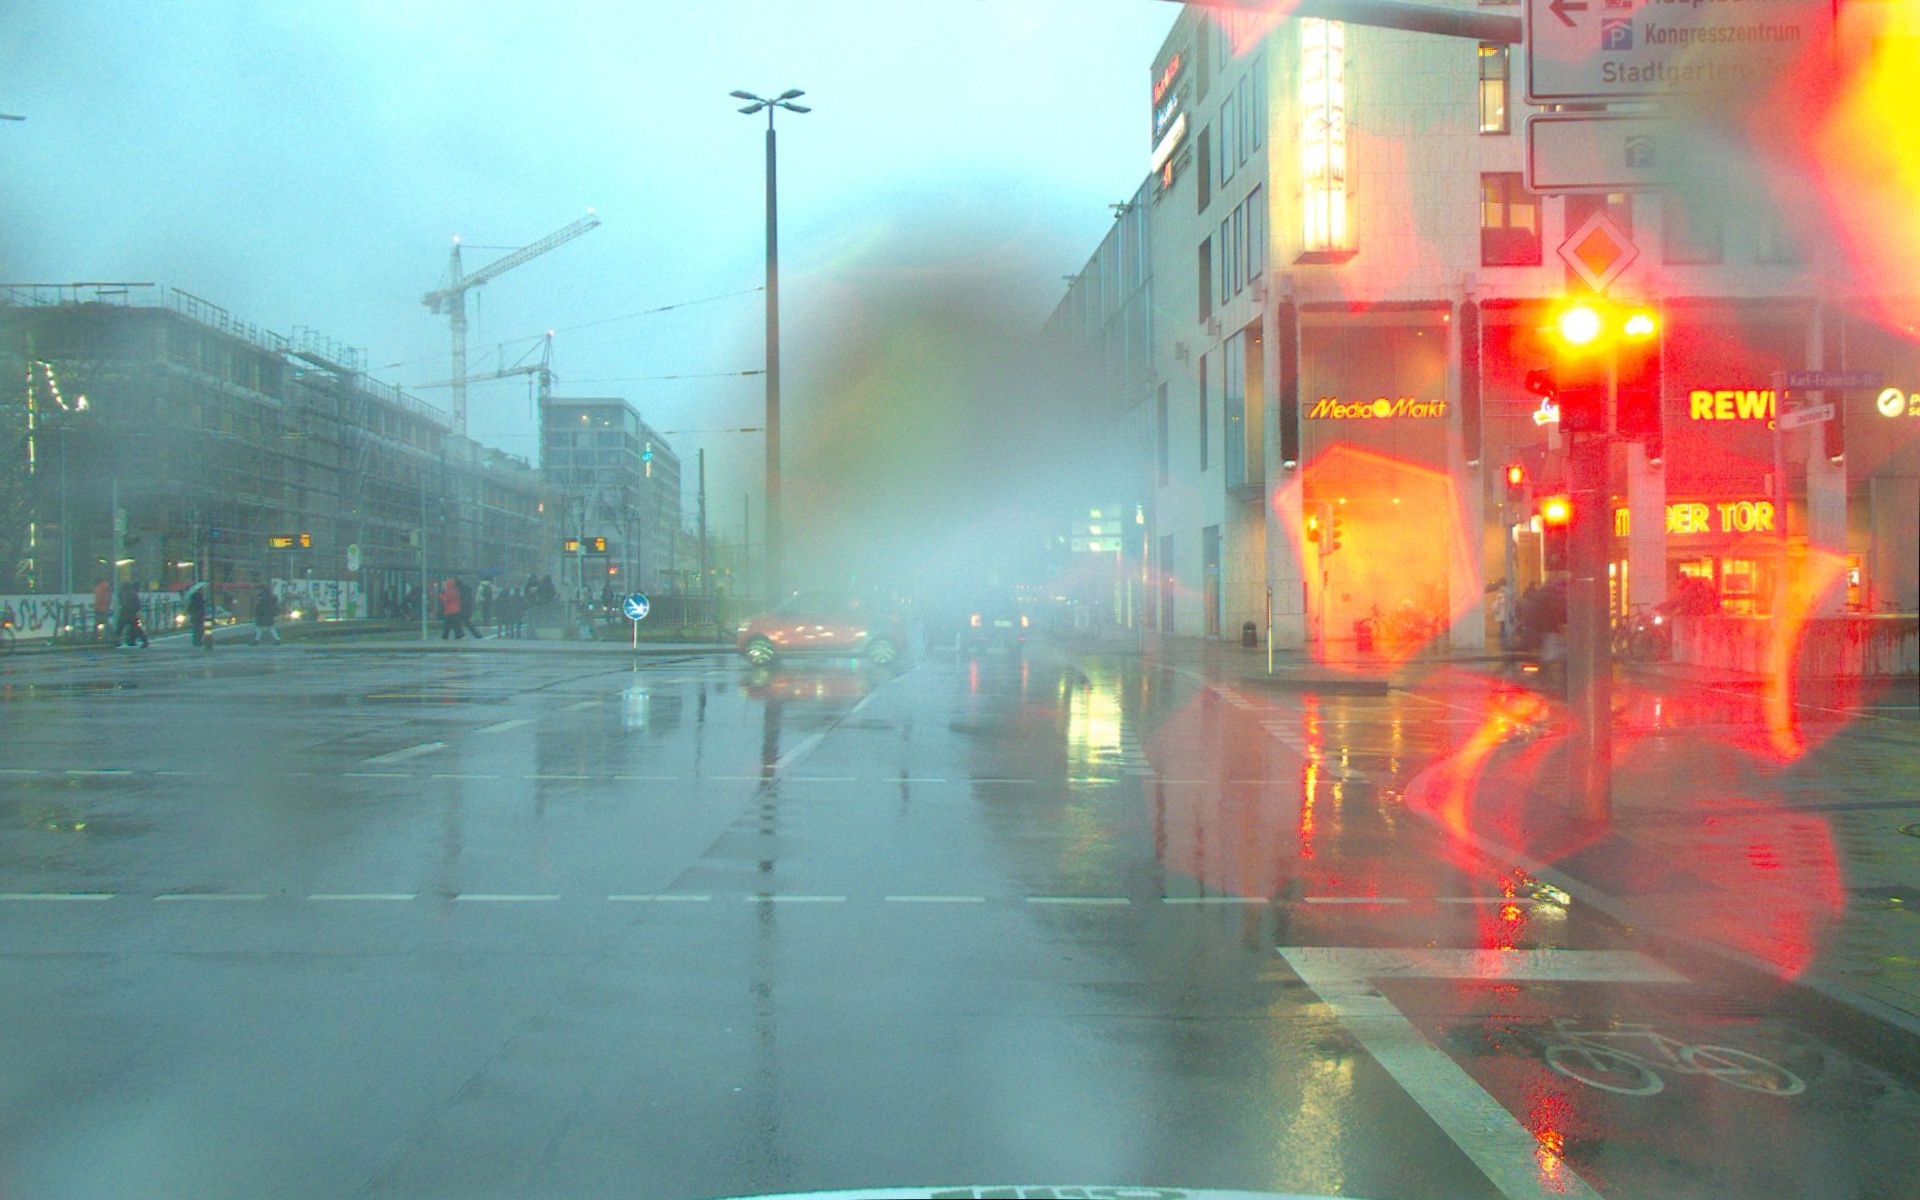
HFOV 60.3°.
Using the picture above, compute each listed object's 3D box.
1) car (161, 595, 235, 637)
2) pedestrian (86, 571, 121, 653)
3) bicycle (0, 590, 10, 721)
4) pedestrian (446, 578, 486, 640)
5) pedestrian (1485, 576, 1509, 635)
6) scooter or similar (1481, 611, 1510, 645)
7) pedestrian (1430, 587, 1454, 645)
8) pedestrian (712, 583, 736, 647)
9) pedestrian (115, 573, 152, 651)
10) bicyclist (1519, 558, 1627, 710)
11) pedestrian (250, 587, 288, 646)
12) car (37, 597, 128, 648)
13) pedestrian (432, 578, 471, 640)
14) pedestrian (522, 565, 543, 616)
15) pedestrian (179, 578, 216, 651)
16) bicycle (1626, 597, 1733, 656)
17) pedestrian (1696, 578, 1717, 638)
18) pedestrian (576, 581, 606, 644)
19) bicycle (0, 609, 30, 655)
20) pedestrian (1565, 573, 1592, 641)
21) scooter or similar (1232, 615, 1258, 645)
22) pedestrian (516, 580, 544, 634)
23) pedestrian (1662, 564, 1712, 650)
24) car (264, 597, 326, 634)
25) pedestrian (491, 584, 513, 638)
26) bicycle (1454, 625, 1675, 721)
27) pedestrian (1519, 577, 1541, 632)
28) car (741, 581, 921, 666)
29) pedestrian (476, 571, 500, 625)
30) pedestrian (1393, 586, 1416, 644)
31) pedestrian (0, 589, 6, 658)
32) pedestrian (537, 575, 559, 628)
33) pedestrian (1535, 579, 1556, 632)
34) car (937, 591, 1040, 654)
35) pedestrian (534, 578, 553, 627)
[{"bbox_3d":[-38.551,0.807,83.778,1.953,2.049,3.999,-1,0,-1],"label":"car"},{"bbox_3d":[-22.420,0.318,43.287,0.682,2.124,0.604,0,0,-41],"label":"pedestrian"},{"bbox_3d":[-11.526,0.556,17.151,2.779,1.386,0.719,1,-1,-10],"label":"bicycle"},{"bbox_3d":[-13.887,0.244,46.519,0.825,1.718,0.677,-1,0,20],"label":"pedestrian"},{"bbox_3d":[15.999,0.153,49.300,0.526,1.748,0.500,-1,0,37],"label":"pedestrian"},{"bbox_3d":[15.974,0.834,49.310,0.726,1.011,0.400,-1,0,0],"label":"scooter or similar"},{"bbox_3d":[14.624,0.479,50.167,0.526,1.748,0.500,-1,0,37],"label":"pedestrian"},{"bbox_3d":[-6.789,0.430,47.588,0.620,1.803,0.483,-1,0,-2],"label":"pedestrian"},{"bbox_3d":[-22.042,0.315,44.112,0.770,2.049,0.604,-1,0,-39],"label":"pedestrian"},{"bbox_3d":[7.098,0.390,19.174,1.012,1.726,0.618,-1,0,1],"label":"bicyclist"},{"bbox_3d":[-19.320,0.460,46.261,0.692,1.647,0.680,-1,0,22],"label":"pedestrian"},{"bbox_3d":[-37.172,0.933,70.199,1.954,2.049,3.996,-1,0,-5],"label":"car"},{"bbox_3d":[-14.102,0.253,45.851,0.813,1.709,0.619,-1,0,18],"label":"pedestrian"},{"bbox_3d":[-15.037,-0.332,58.126,0.648,1.776,0.734,-1,0,-11],"label":"pedestrian"},{"bbox_3d":[-21.575,0.399,46.831,0.778,2.049,0.745,-1,0,-11],"label":"pedestrian"},{"bbox_3d":[13.837,0.504,31.852,1.806,1.112,0.618,-1,0,14],"label":"bicycle"},{"bbox_3d":[22.401,0.249,49.658,0.501,1.791,0.374,-1,0,16],"label":"pedestrian"},{"bbox_3d":[-10.583,0.347,47.465,0.688,1.791,0.652,-1,0,-1],"label":"pedestrian"},{"bbox_3d":[-22.497,0.724,37.983,2.083,1.009,0.542,1,-5,11],"label":"bicycle"},{"bbox_3d":[15.924,0.181,42.581,0.526,1.715,0.547,-1,0,37],"label":"pedestrian"},{"bbox_3d":[8.860,0.932,51.390,0.726,0.932,0.400,-1,0,0],"label":"scooter or similar"},{"bbox_3d":[-13.181,0.215,50.667,0.732,1.635,0.807,-1,0,-20],"label":"pedestrian"},{"bbox_3d":[13.988,0.131,31.828,0.764,1.623,0.613,-1,0,14],"label":"pedestrian"},{"bbox_3d":[-38.100,0.858,94.868,1.953,2.049,3.999,-1,0,-1],"label":"car"},{"bbox_3d":[-14.023,0.331,50.676,0.602,1.647,0.705,-1,0,-19],"label":"pedestrian"},{"bbox_3d":[6.984,0.835,19.168,2.323,1.051,0.618,-1,0,1],"label":"bicycle"},{"bbox_3d":[18.321,0.139,53.176,0.526,1.748,0.500,-1,0,37],"label":"pedestrian"},{"bbox_3d":[-2.566,0.468,33.558,3.496,1.610,1.676,-1,-1,-1],"label":"car"},{"bbox_3d":[-15.602,-0.064,54.650,0.605,1.776,0.614,-1,0,-31],"label":"pedestrian"},{"bbox_3d":[13.540,0.466,50.357,0.526,1.748,0.500,-1,0,37],"label":"pedestrian"},{"bbox_3d":[-22.502,0.536,38.002,0.797,1.598,0.537,-1,-4,11],"label":"pedestrian"},{"bbox_3d":[-13.815,0.042,55.508,0.607,1.776,0.612,-1,0,-6],"label":"pedestrian"},{"bbox_3d":[19.414,0.174,54.851,0.526,1.748,0.500,-1,0,37],"label":"pedestrian"},{"bbox_3d":[0.691,0.577,43.547,1.939,1.557,3.989,-1,0,-11],"label":"car"},{"bbox_3d":[-15.308,0.103,60.786,0.599,1.776,0.620,-1,0,-6],"label":"pedestrian"}]
